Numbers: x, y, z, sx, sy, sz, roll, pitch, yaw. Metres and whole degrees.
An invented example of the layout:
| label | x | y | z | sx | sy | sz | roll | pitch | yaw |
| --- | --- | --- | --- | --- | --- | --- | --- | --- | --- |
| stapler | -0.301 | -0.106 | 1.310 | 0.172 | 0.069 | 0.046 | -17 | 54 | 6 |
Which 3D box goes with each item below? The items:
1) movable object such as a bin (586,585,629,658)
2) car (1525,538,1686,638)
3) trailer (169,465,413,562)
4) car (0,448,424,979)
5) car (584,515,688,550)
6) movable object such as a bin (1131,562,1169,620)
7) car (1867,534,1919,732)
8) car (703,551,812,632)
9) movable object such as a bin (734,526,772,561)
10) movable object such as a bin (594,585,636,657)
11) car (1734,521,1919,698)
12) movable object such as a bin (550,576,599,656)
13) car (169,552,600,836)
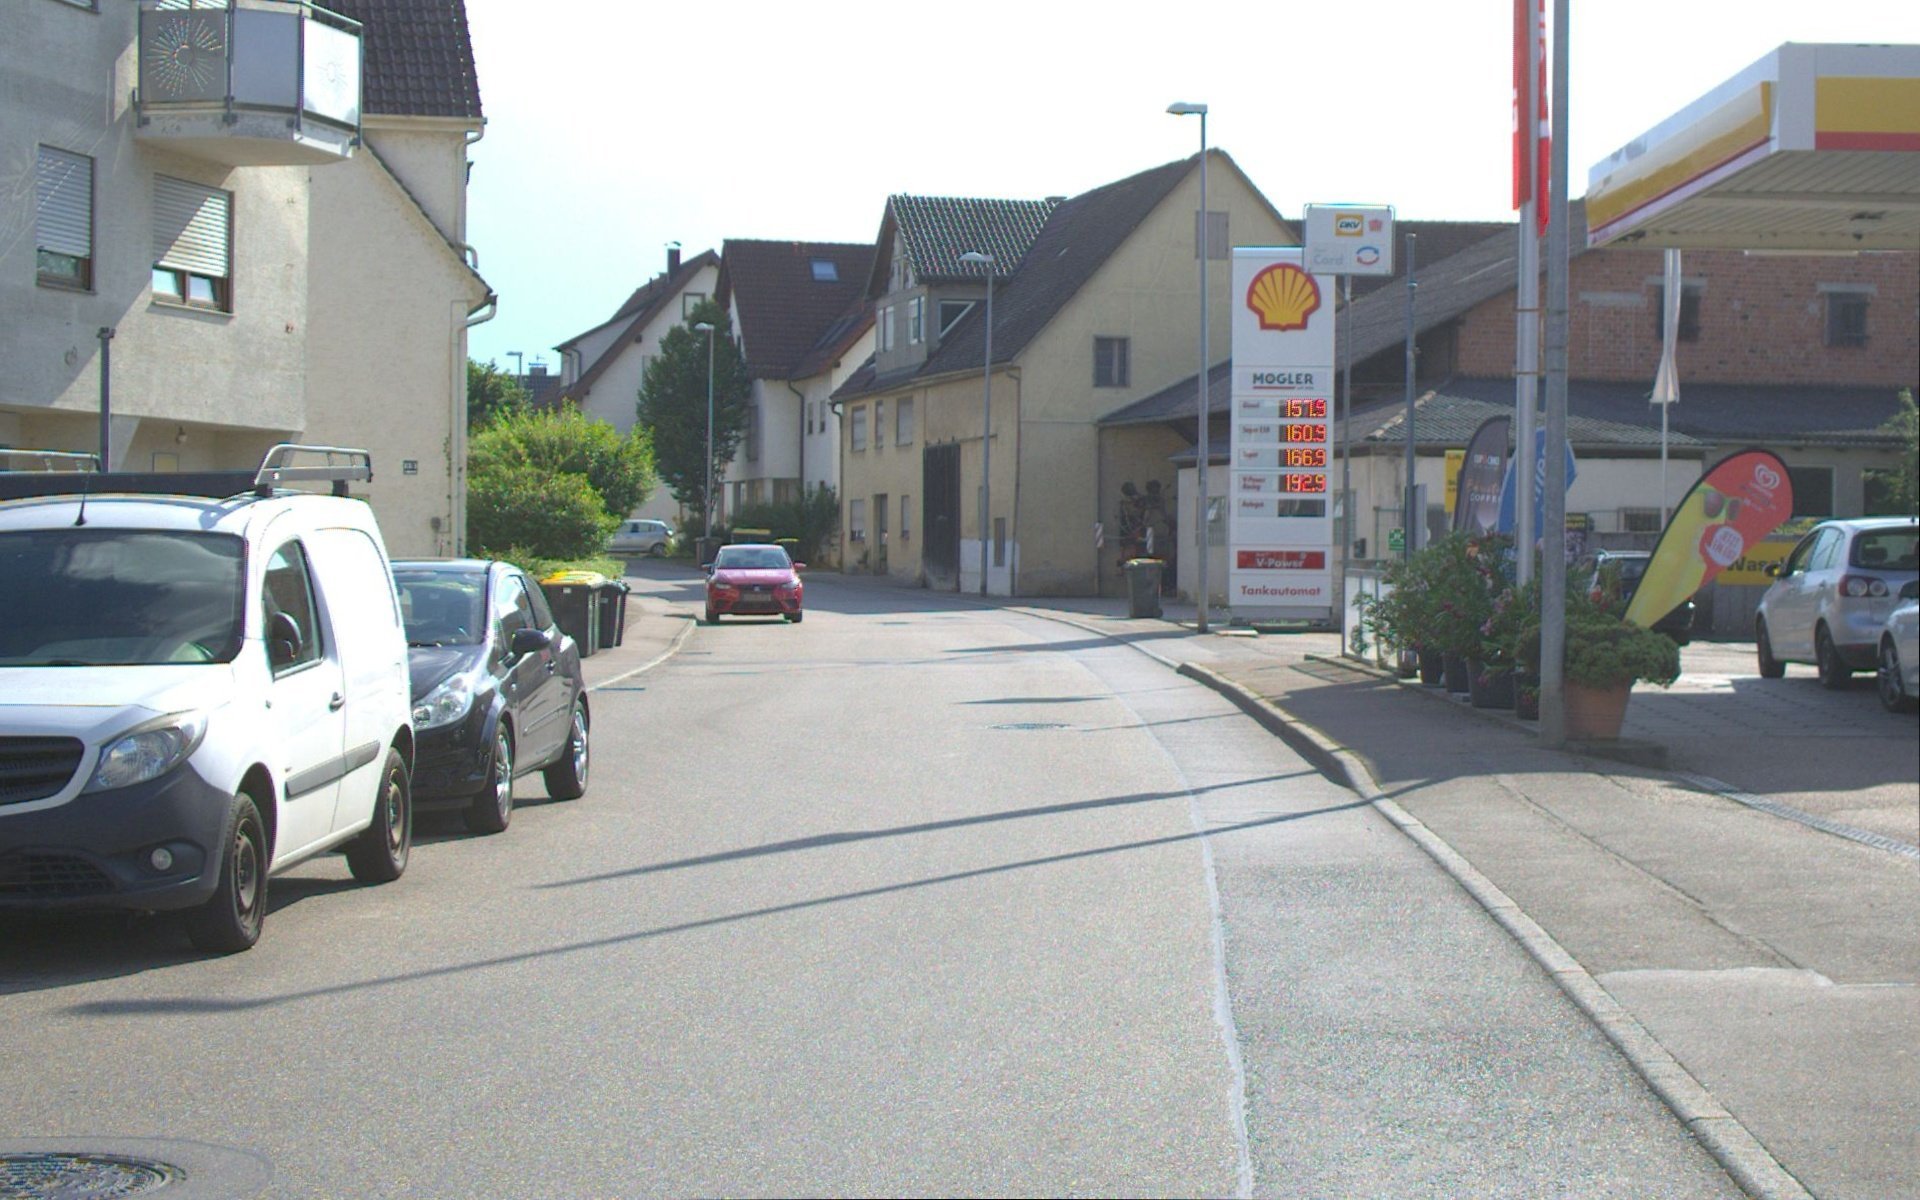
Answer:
| label | x | y | z | sx | sy | sz | roll | pitch | yaw |
| --- | --- | --- | --- | --- | --- | --- | --- | --- | --- |
| movable object such as a bin | -5.027 | 0.301 | 49.036 | 0.531 | 1.019 | 0.457 | -1 | 1 | 1 |
| car | 9.870 | -0.216 | 52.838 | 1.578 | 1.422 | 4.381 | 1 | 1 | -1 |
| trailer | -7.271 | -0.934 | 37.575 | 1.331 | 0.852 | 2.888 | 3 | -1 | 18 |
| car | -3.489 | 0.372 | 14.219 | 1.716 | 1.866 | 4.192 | -1 | 1 | 2 |
| car | -12.626 | -2.631 | 133.863 | 3.986 | 1.348 | 1.711 | 0 | 1 | -7 |
| movable object such as a bin | 3.549 | -0.173 | 64.173 | 0.653 | 1.070 | 0.513 | 0 | 1 | -2 |
| car | 8.525 | 0.277 | 27.236 | 1.672 | 1.572 | 3.999 | 0 | 1 | 1 |
| car | -3.820 | -0.172 | 64.272 | 1.708 | 1.430 | 3.781 | -1 | 1 | -8 |
| movable object such as a bin | -6.824 | -1.865 | 113.322 | 1.160 | 1.164 | 0.655 | 0 | 1 | -11 |
| movable object such as a bin | -4.977 | 0.304 | 49.575 | 0.531 | 1.019 | 0.457 | -1 | 1 | 1 |
| car | 8.633 | 0.040 | 32.735 | 1.672 | 1.572 | 3.999 | 0 | 1 | 1 |
| movable object such as a bin | -5.301 | 0.216 | 47.257 | 0.588 | 1.080 | 0.508 | -1 | 1 | 1 |
| car | -3.169 | 0.459 | 19.628 | 1.673 | 1.446 | 3.834 | 0 | 1 | 2 |
